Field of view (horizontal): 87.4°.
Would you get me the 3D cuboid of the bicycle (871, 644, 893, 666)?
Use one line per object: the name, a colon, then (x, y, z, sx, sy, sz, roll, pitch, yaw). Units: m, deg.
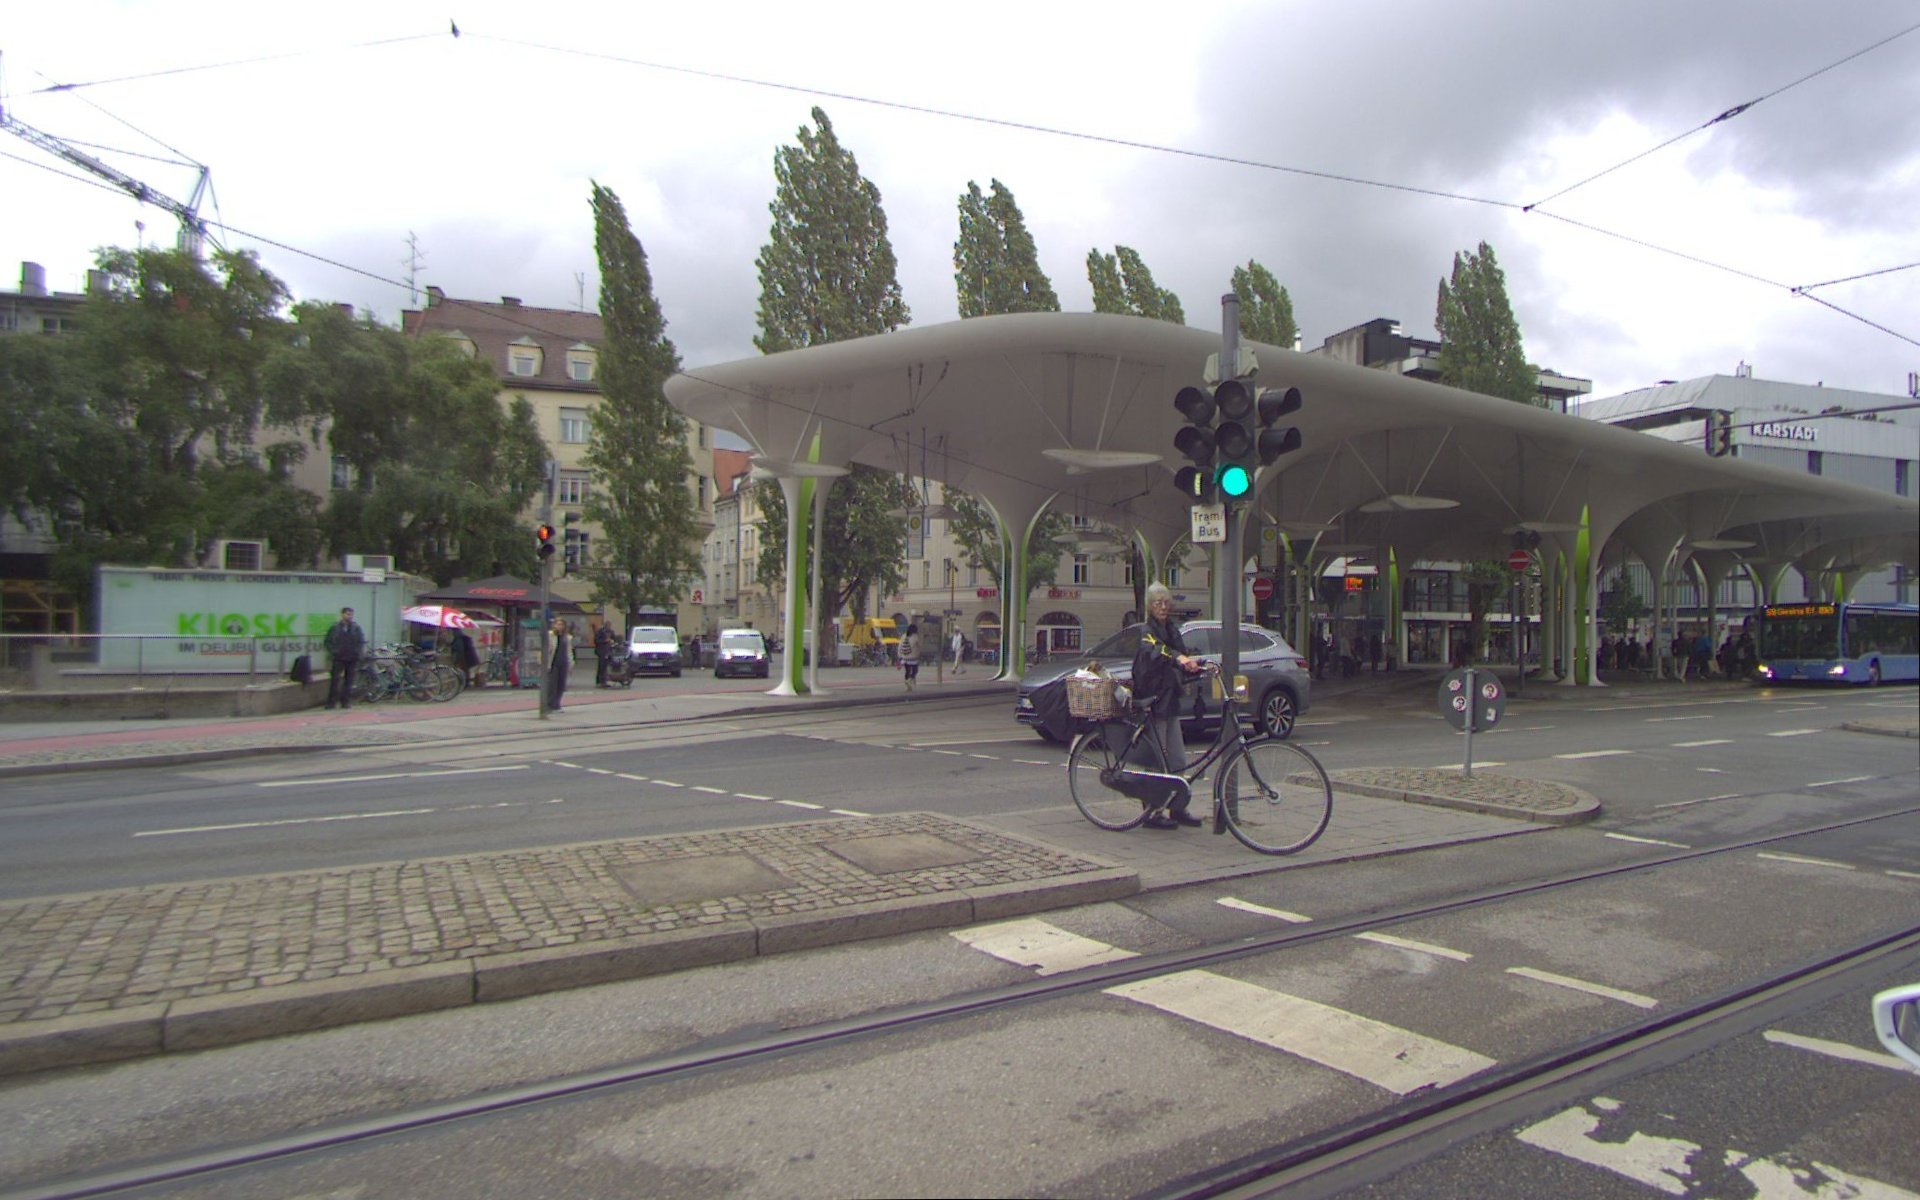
bicycle: (-4.316, 3.005, 55.110, 0.727, 1.149, 2.677, 1, -2, -15)

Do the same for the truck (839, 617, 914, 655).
truck: (-5.953, 2.524, 70.904, 2.412, 2.546, 7.125, 2, -2, -31)

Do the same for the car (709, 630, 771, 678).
car: (-8.126, 1.949, 36.933, 1.802, 1.637, 3.984, 1, -2, -19)

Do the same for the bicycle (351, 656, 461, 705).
bicycle: (-10.804, 1.558, 19.646, 1.823, 0.906, 0.478, 1, -2, -23)

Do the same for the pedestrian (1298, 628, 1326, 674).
pedestrian: (14.241, 2.051, 40.675, 0.772, 1.812, 0.759, 1, -1, -27)

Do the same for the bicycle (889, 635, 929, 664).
bicycle: (-3.182, 3.036, 62.006, 0.989, 1.634, 3.597, 2, -2, -29)

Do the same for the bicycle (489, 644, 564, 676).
bicycle: (-16.166, 2.219, 37.466, 2.494, 1.145, 0.639, 2, -2, -30)

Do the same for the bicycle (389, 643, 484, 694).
bicycle: (-11.789, 1.532, 22.657, 1.819, 1.110, 0.478, 1, -1, -17)

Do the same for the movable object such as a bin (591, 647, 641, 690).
movable object such as a bin: (-9.262, 1.820, 27.021, 0.947, 1.098, 1.325, 2, -2, -33)

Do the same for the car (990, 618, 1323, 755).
car: (2.854, 1.151, 14.235, 4.626, 1.660, 1.853, 2, -4, -32)

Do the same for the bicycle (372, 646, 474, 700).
bicycle: (-11.430, 1.548, 21.435, 1.819, 1.110, 0.478, 1, -1, -17)

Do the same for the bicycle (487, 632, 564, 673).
bicycle: (-15.939, 1.922, 36.878, 2.533, 1.440, 0.631, 2, -2, -30)

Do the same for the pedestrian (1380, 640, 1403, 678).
pedestrian: (18.966, 2.578, 44.112, 0.691, 1.639, 0.644, 1, -2, -26)

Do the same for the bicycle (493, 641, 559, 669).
bicycle: (-18.234, 2.320, 42.253, 2.494, 1.145, 0.639, 2, -2, -30)

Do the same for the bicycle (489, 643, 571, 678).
bicycle: (-14.572, 2.044, 34.049, 2.494, 1.145, 0.639, 2, -2, -30)

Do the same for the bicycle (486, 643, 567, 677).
bicycle: (-14.917, 2.052, 34.626, 2.494, 1.145, 0.639, 2, -2, -30)

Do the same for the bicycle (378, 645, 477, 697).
bicycle: (-11.606, 1.541, 21.930, 1.819, 1.110, 0.478, 1, -1, -17)

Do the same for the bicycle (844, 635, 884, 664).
bicycle: (-5.804, 2.959, 60.546, 0.989, 1.634, 3.597, 2, -2, -29)

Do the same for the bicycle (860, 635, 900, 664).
bicycle: (-4.904, 2.985, 61.054, 0.989, 1.634, 3.597, 2, -2, -29)

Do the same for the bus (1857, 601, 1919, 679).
bus: (40.694, 1.697, 41.958, 7.426, 3.046, 2.648, 2, -4, -31)

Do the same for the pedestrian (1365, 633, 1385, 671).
pedestrian: (17.775, 2.216, 43.032, 0.652, 1.585, 0.640, 0, -2, 35)

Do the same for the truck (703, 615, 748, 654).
truck: (-16.484, 2.393, 70.391, 2.259, 2.658, 5.324, 1, -2, -22)

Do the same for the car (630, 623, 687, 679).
car: (-11.493, 1.872, 38.107, 1.842, 1.973, 4.911, 1, -2, -19)

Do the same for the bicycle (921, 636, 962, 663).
bicycle: (-1.177, 3.095, 63.157, 0.989, 1.634, 3.597, 2, -2, -29)

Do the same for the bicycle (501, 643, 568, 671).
bicycle: (-17.544, 2.349, 41.421, 2.494, 1.145, 0.639, 2, -2, -30)

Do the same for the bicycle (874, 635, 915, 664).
bicycle: (-4.032, 3.011, 61.458, 0.989, 1.634, 3.597, 2, -2, -29)

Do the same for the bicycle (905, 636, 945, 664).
bicycle: (-2.200, 3.065, 62.501, 0.989, 1.634, 3.597, 2, -2, -29)

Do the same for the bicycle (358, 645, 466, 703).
bicycle: (-10.973, 1.479, 20.175, 1.821, 1.110, 0.478, 1, -1, -20)

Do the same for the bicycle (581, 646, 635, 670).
bicycle: (-16.877, 2.774, 48.159, 2.395, 1.143, 0.818, 1, -2, -21)

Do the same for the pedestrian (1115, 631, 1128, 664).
pedestrian: (8.918, 2.623, 55.508, 0.546, 1.838, 0.556, 1, -1, -18)

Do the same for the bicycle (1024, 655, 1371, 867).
bicycle: (1.555, 1.008, 6.747, 2.189, 1.165, 0.506, 1, -1, 25)

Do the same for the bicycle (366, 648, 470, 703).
bicycle: (-11.184, 1.558, 20.778, 1.819, 1.110, 0.478, 1, -1, -17)

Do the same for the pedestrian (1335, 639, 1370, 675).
pedestrian: (15.363, 2.219, 39.327, 0.829, 1.388, 0.961, 1, -1, -23)

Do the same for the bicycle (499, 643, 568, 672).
bicycle: (-17.152, 2.294, 40.431, 2.494, 1.145, 0.639, 2, -2, -30)

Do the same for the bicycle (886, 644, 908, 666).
bicycle: (-3.506, 3.028, 55.562, 0.727, 1.149, 2.677, 1, -2, -15)

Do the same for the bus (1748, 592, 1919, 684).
bus: (33.053, 1.467, 37.253, 10.399, 3.046, 2.646, 2, -4, -32)

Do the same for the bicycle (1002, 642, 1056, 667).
bicycle: (3.857, 3.038, 56.293, 2.886, 1.331, 0.841, 1, -2, -6)

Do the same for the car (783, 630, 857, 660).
car: (-9.238, 2.981, 66.527, 4.713, 1.945, 1.999, 1, -2, -6)
